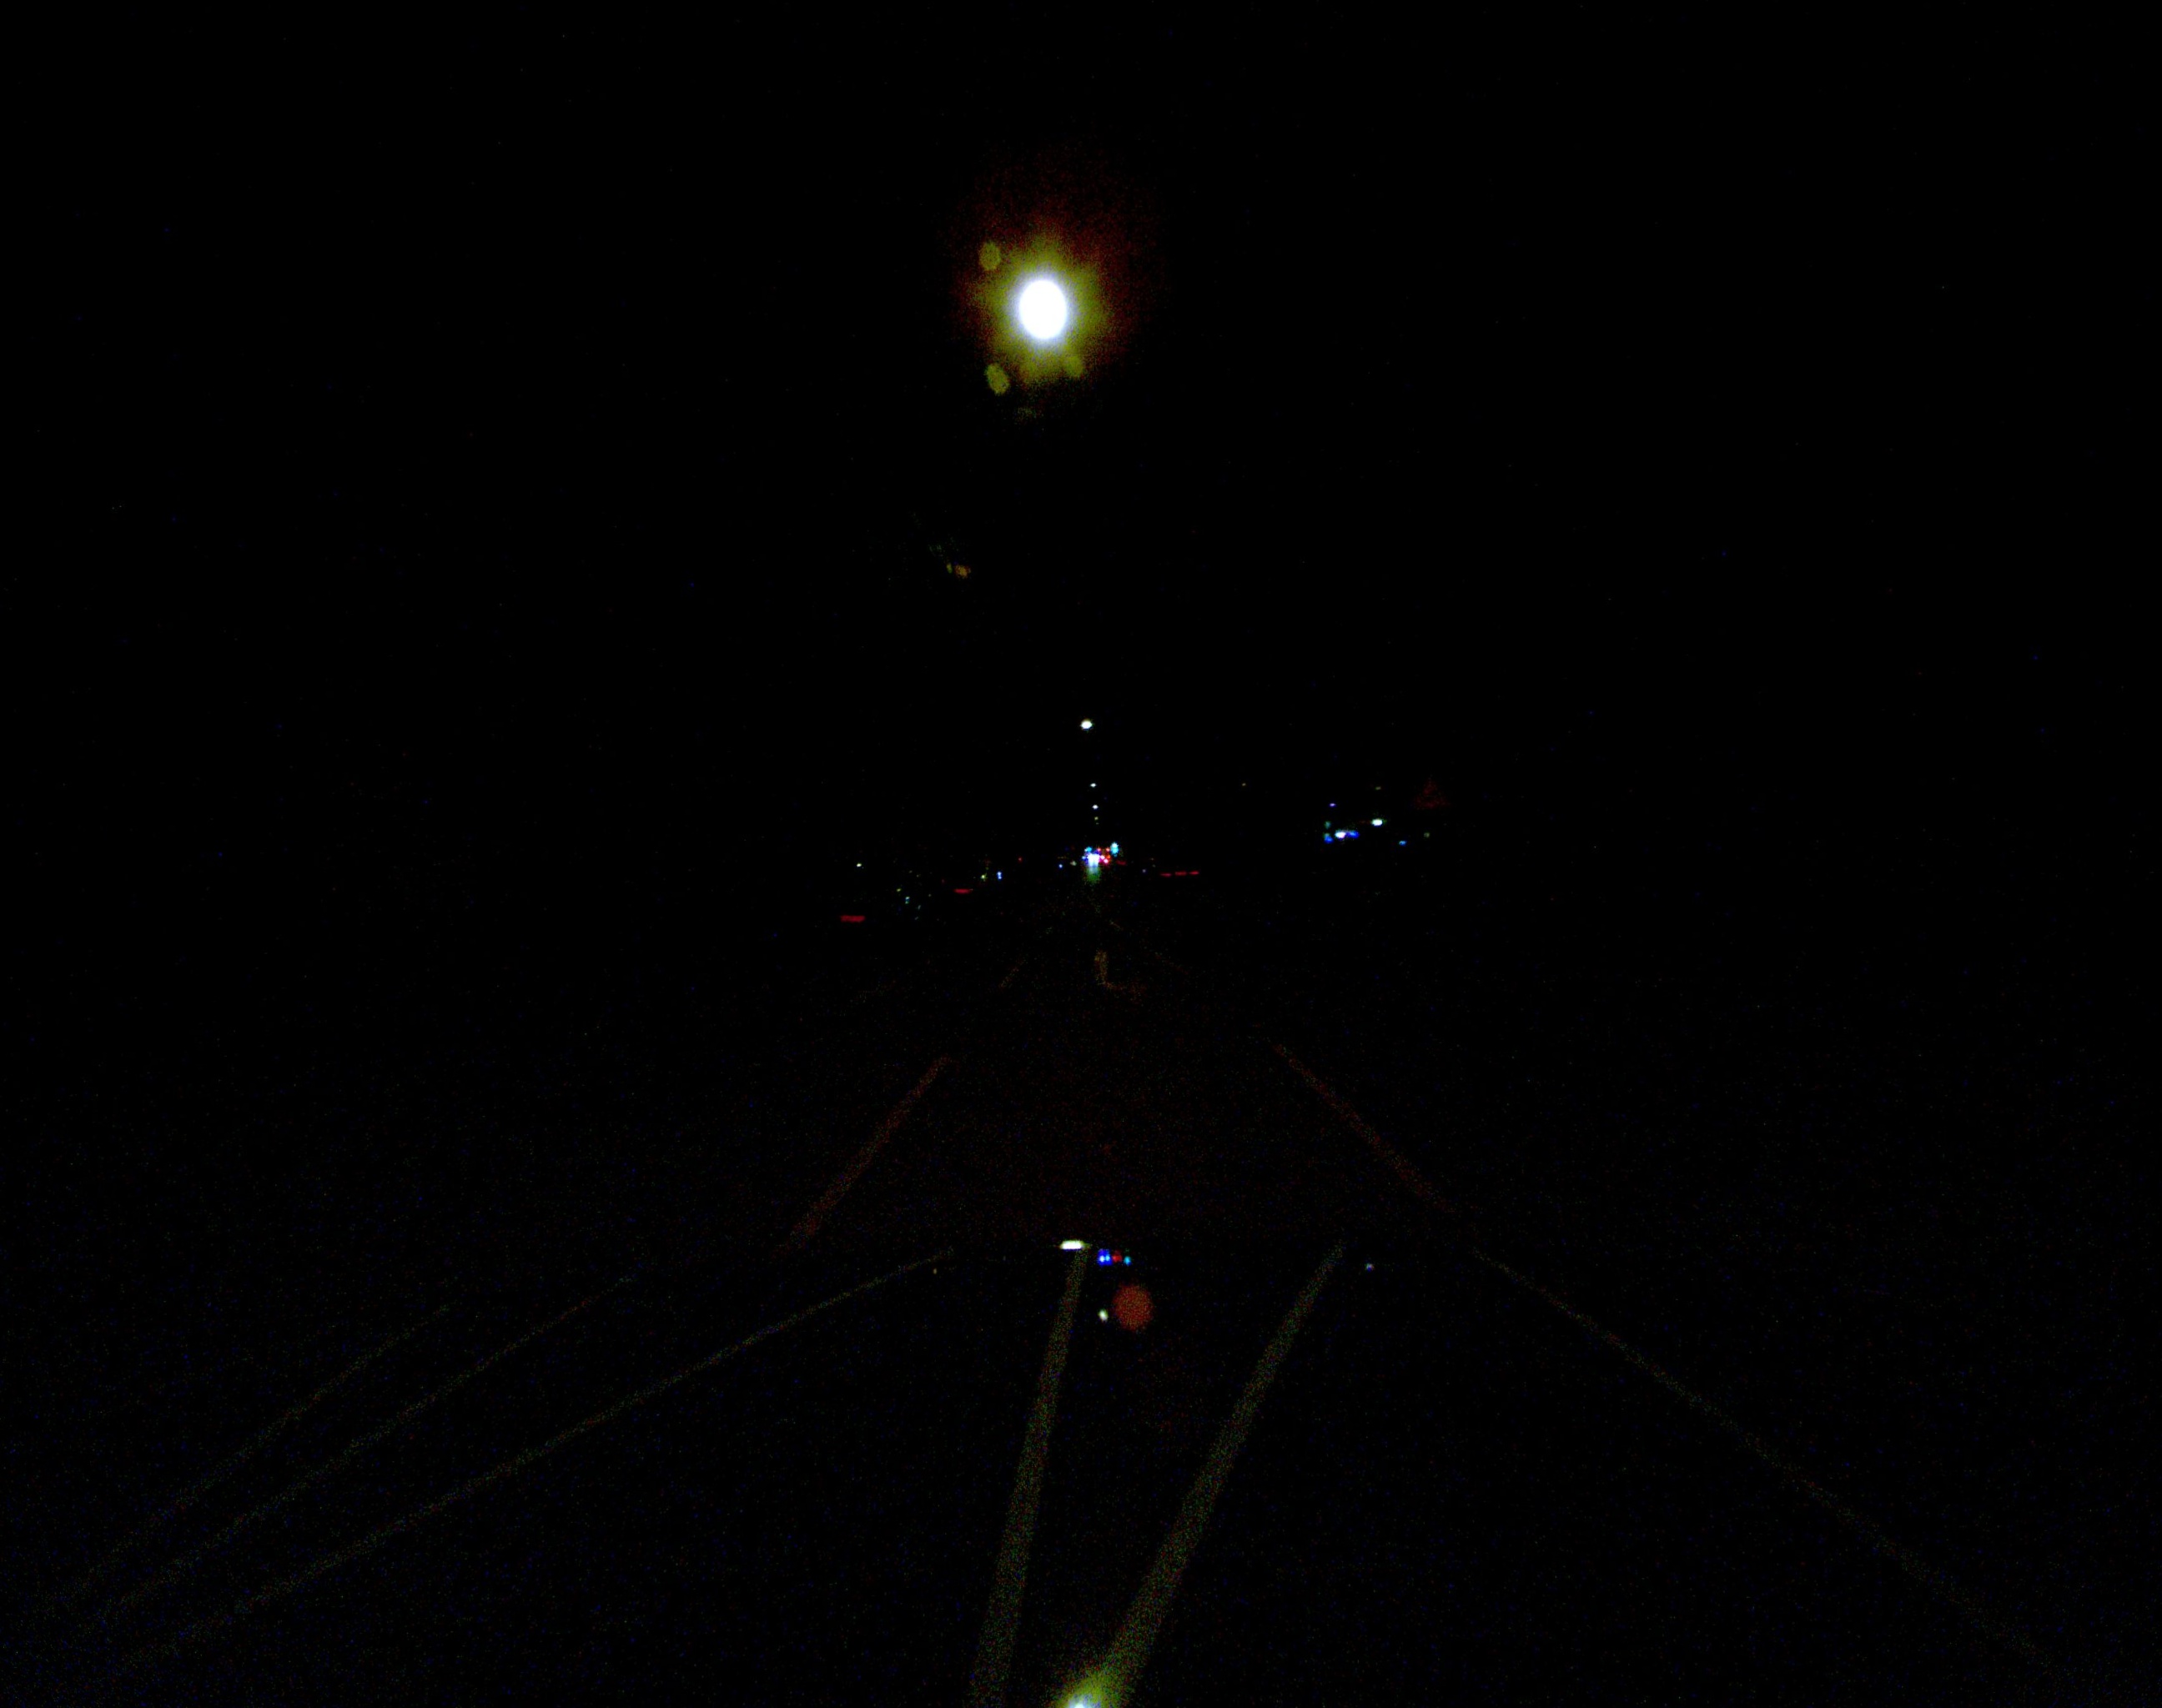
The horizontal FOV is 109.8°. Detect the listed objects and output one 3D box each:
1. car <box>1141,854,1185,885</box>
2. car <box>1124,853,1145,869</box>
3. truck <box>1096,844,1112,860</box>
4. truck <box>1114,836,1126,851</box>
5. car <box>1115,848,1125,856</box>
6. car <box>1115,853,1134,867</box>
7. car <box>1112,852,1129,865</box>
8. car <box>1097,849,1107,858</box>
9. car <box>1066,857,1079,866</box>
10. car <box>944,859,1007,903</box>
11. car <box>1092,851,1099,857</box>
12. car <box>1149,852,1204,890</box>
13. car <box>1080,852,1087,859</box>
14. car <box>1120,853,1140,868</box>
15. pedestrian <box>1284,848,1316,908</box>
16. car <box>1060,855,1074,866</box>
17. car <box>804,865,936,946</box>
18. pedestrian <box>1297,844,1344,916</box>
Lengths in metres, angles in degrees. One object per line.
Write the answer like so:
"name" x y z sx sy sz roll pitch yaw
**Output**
"car" 4.281 0.778 40.361 1.864 1.458 3.897 -4 0 0
"car" 5.799 0.783 83.296 1.874 1.635 3.999 -2 0 -2
"truck" 5.175 -0.480 168.232 3.222 3.359 8.851 -2 0 2
"truck" 7.086 -1.891 137.929 2.084 2.562 6.874 -2 0 2
"car" 8.254 -0.400 161.692 1.873 1.551 4.353 -2 0 2
"car" 5.351 0.703 93.986 1.874 1.635 3.999 -2 0 -2
"car" 5.238 0.647 102.031 1.874 1.635 3.999 -2 0 -2
"car" 4.150 -0.020 147.393 1.873 1.635 4.000 -2 0 2
"car" -1.349 1.149 117.639 1.873 1.407 4.000 -2 0 1
"car" -4.151 1.014 30.463 1.742 1.588 4.359 0 0 2
"car" 4.219 -0.103 218.913 1.775 1.672 3.815 -2 0 1
"car" 4.341 0.754 35.202 1.864 1.523 4.588 -4 0 0
"car" 0.768 0.328 202.032 1.792 1.829 3.845 -2 0 0
"car" 5.639 0.749 87.738 1.874 1.635 3.999 -2 0 -2
"pedestrian" 6.475 0.697 22.494 0.670 1.716 0.867 -2 0 1
"car" -2.051 0.949 110.868 1.873 1.407 4.000 -2 0 1
"car" -4.555 1.052 17.025 1.864 1.544 4.045 0 0 -1
"pedestrian" 5.738 0.603 18.285 0.744 1.662 1.103 -2 1 1
